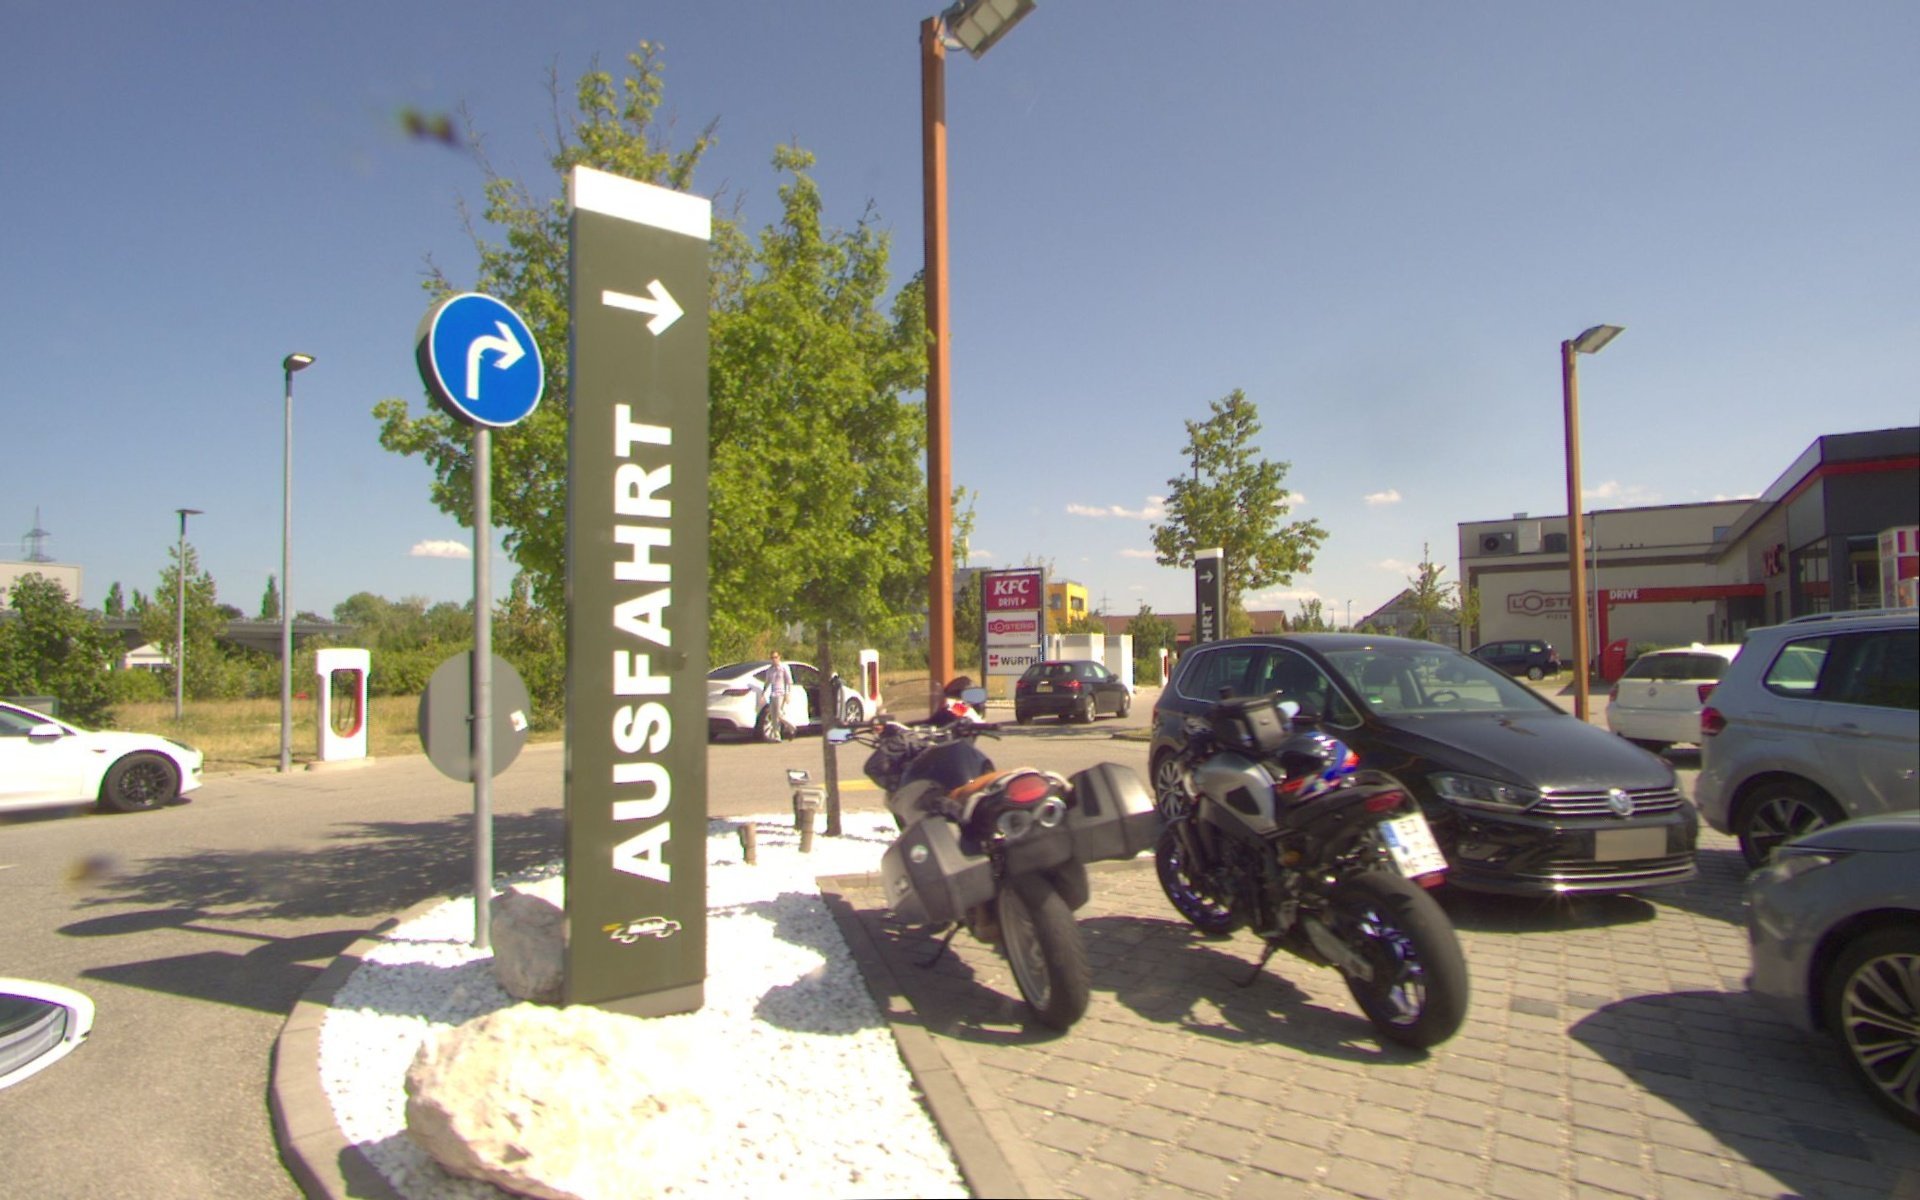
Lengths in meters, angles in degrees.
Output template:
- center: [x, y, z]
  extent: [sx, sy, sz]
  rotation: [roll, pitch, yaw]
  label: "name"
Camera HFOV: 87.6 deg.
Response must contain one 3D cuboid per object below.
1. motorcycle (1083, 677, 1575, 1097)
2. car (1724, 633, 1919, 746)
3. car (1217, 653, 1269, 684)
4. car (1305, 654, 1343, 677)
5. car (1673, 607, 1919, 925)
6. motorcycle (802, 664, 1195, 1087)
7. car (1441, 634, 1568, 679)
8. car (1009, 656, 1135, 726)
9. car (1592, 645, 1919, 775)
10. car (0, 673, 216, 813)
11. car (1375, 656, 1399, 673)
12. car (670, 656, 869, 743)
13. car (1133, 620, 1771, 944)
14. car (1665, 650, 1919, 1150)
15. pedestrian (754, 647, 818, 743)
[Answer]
- center: [1.381, 0.996, 4.327]
  extent: [0.807, 1.247, 2.137]
  rotation: [1, -2, -20]
  label: "motorcycle"
- center: [14.183, 1.309, 15.067]
  extent: [1.725, 1.595, 4.086]
  rotation: [0, -3, -12]
  label: "car"
- center: [15.428, 3.687, 54.433]
  extent: [1.921, 1.587, 3.986]
  rotation: [-2, -3, 28]
  label: "car"
- center: [26.381, 4.729, 72.433]
  extent: [1.922, 1.587, 3.984]
  rotation: [-2, -3, 29]
  label: "car"
- center: [5.981, 0.835, 4.788]
  extent: [1.715, 1.660, 4.066]
  rotation: [0, -3, -12]
  label: "car"
- center: [-0.010, 0.957, 4.415]
  extent: [1.052, 1.266, 2.249]
  rotation: [1, -2, -17]
  label: "motorcycle"
- center: [21.704, 2.269, 40.050]
  extent: [4.318, 1.706, 1.635]
  rotation: [-2, -3, 29]
  label: "car"
- center: [2.728, 2.061, 23.530]
  extent: [1.671, 1.459, 4.203]
  rotation: [-2, -3, 25]
  label: "car"
- center: [10.529, 1.327, 12.861]
  extent: [4.113, 1.443, 1.842]
  rotation: [0, -3, -18]
  label: "car"
- center: [-10.791, 1.515, 10.534]
  extent: [1.796, 1.394, 4.429]
  rotation: [-2, -4, 31]
  label: "car"
- center: [41.438, 6.286, 97.171]
  extent: [1.722, 1.587, 3.984]
  rotation: [-2, -3, 29]
  label: "car"
- center: [-3.944, 2.037, 21.521]
  extent: [1.841, 1.620, 4.473]
  rotation: [-2, -3, 28]
  label: "car"
- center: [2.891, 0.977, 7.098]
  extent: [1.861, 1.556, 4.189]
  rotation: [0, -2, -12]
  label: "car"
- center: [3.989, 0.832, 1.671]
  extent: [1.801, 1.465, 4.662]
  rotation: [1, -3, -11]
  label: "car"
- center: [-3.436, 1.847, 19.840]
  extent: [0.726, 1.823, 1.031]
  rotation: [-1, -2, 32]
  label: "pedestrian"
